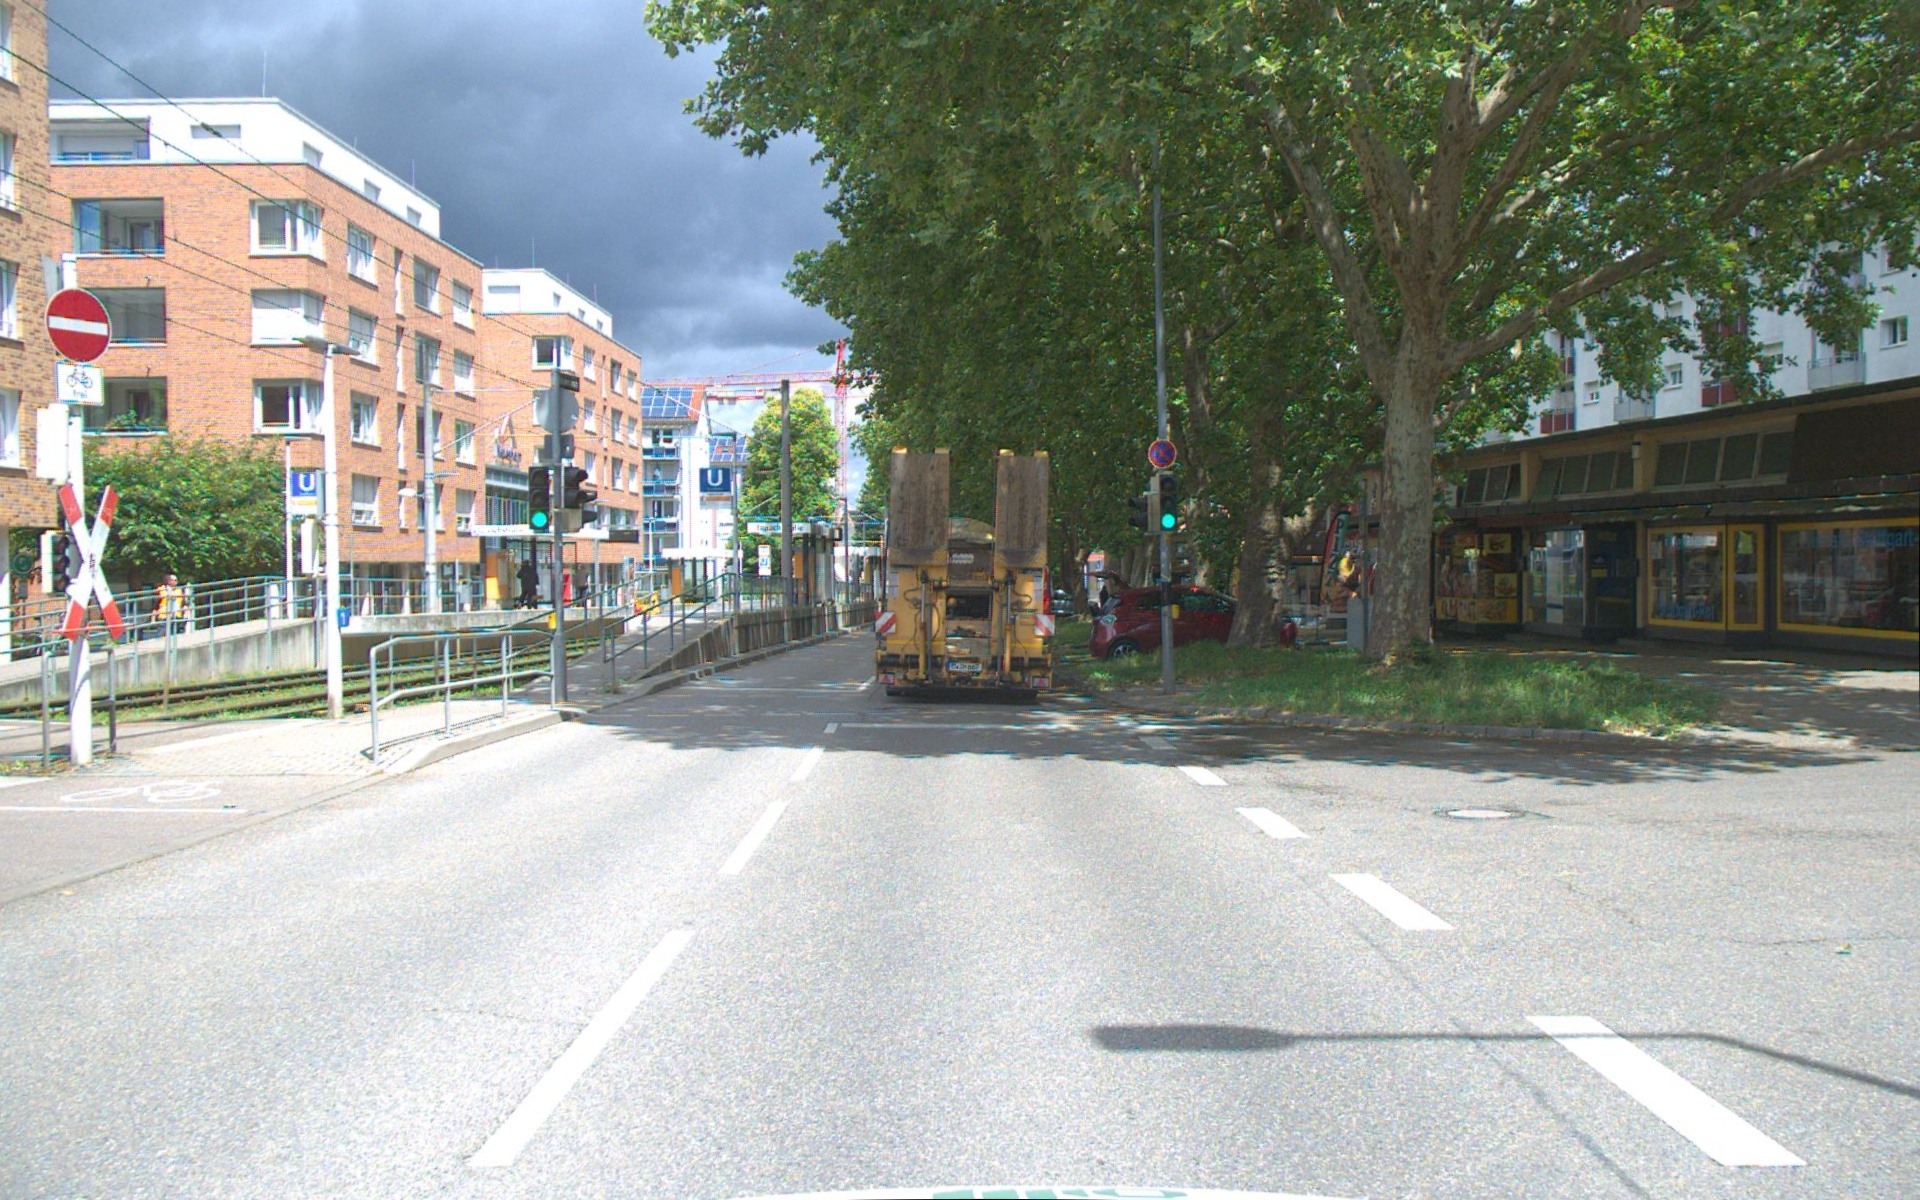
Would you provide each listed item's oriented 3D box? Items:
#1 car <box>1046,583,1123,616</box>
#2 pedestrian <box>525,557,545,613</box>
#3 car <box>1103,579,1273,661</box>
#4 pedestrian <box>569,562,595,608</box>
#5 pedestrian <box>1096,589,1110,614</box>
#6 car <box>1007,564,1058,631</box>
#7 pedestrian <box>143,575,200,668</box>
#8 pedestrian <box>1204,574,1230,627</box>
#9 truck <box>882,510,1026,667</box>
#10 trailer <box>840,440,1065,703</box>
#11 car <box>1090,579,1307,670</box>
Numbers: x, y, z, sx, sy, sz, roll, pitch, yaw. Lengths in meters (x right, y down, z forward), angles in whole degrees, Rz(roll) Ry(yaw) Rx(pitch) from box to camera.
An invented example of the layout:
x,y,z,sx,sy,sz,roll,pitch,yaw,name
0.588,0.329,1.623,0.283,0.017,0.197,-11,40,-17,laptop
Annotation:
x,y,z,sx,sy,sz,roll,pitch,yaw,name
6.450,-0.023,85.775,3.756,1.589,1.618,-2,0,-6,car
-13.733,-0.472,53.461,0.523,1.794,0.528,-1,0,-2,pedestrian
4.917,0.415,35.975,3.340,1.541,1.609,-3,0,-4,car
-13.789,-0.539,60.375,0.736,1.657,0.816,0,0,1,pedestrian
8.111,0.081,93.755,0.681,1.416,0.512,-1,0,-4,pedestrian
3.017,-0.096,70.140,1.865,2.626,6.834,-2,0,1,car
-16.134,0.428,33.852,0.728,1.857,0.829,-1,1,-1,pedestrian
9.479,0.012,61.108,0.728,1.916,0.941,-2,-1,0,pedestrian
-0.141,-0.246,37.934,2.928,3.190,7.887,1,0,0,truck
-0.118,-0.404,28.435,3.090,3.615,11.096,0,0,0,trailer
4.494,0.447,31.606,3.945,1.639,1.731,-1,0,3,car
